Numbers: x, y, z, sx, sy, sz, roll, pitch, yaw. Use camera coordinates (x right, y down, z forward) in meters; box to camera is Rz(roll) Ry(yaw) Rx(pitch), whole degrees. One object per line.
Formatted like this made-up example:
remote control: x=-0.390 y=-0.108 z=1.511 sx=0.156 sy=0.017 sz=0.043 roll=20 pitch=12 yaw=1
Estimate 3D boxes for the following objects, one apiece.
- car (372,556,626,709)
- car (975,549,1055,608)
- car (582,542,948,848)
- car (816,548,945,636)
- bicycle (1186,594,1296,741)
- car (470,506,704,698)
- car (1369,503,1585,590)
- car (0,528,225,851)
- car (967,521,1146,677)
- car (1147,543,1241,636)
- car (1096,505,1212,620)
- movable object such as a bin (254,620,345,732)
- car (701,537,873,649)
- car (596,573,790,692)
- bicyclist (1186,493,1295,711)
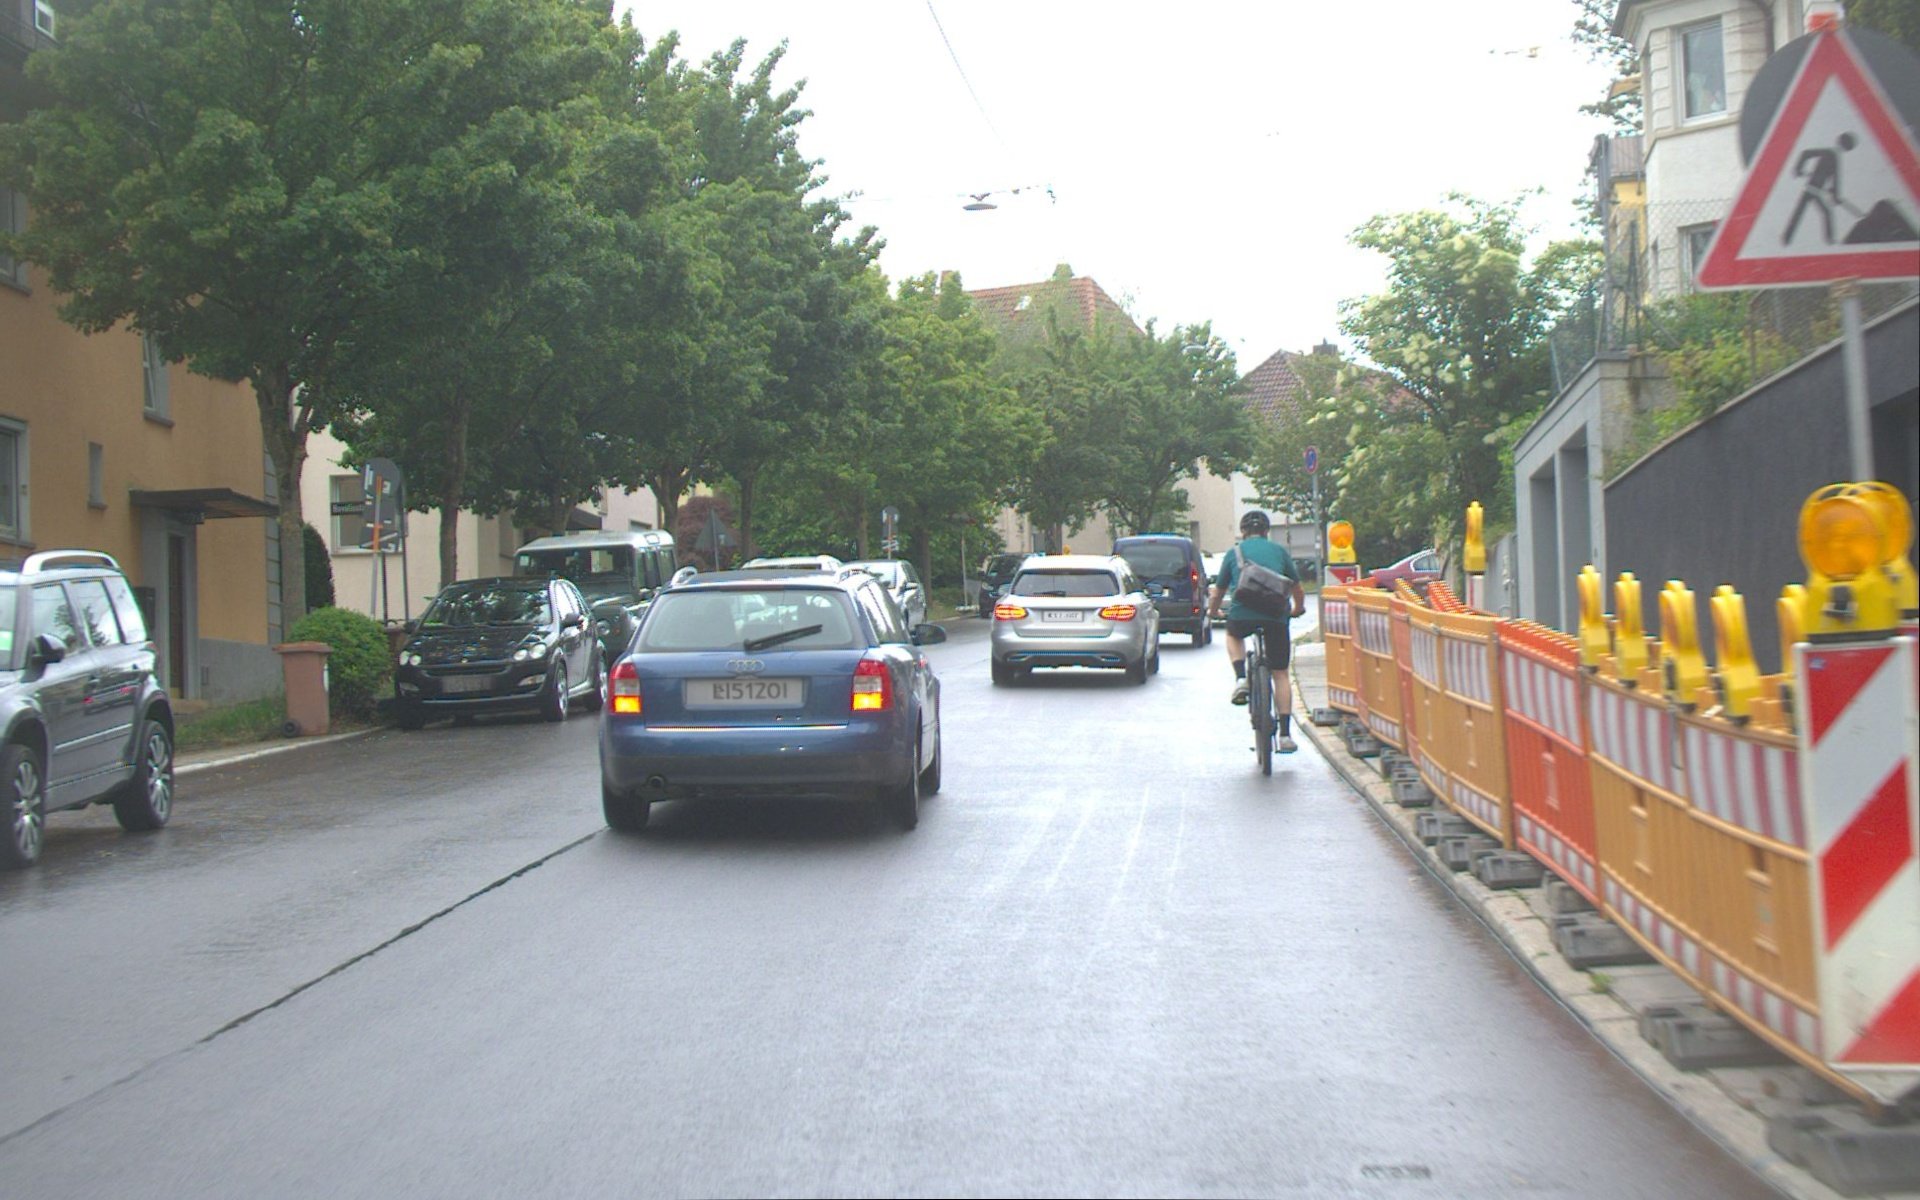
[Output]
car: x=-4.753 y=0.290 z=36.025 sx=1.768 sy=1.431 sz=4.347 roll=-3 pitch=1 yaw=3
car: x=1.355 y=-0.546 z=84.199 sx=1.475 sy=1.291 sz=3.220 roll=1 pitch=2 yaw=9
car: x=-1.030 y=0.462 z=19.954 sx=1.733 sy=1.461 sz=4.000 roll=1 pitch=2 yaw=2
car: x=-1.462 y=-0.158 z=64.906 sx=1.768 sy=1.534 sz=4.006 roll=-2 pitch=0 yaw=8
bicycle: x=1.936 y=0.448 z=23.768 sx=0.730 sy=0.961 sz=1.670 roll=0 pitch=1 yaw=4
car: x=-4.398 y=-0.041 z=41.274 sx=1.792 sy=2.042 sz=4.781 roll=-4 pitch=1 yaw=5
car: x=9.993 y=-1.034 z=66.343 sx=3.989 sy=1.461 sz=1.738 roll=-3 pitch=2 yaw=12
car: x=-5.641 y=0.479 z=19.373 sx=1.768 sy=1.629 sz=4.109 roll=-4 pitch=1 yaw=4
car: x=1.189 y=-0.057 z=40.543 sx=1.975 sy=1.629 sz=4.235 roll=1 pitch=2 yaw=3
car: x=4.926 y=-0.245 z=72.073 sx=1.734 sy=1.762 sz=4.234 roll=1 pitch=2 yaw=7
car: x=3.281 y=-0.663 z=57.516 sx=1.734 sy=1.762 sz=4.235 roll=1 pitch=2 yaw=6
movable object such as a bin: x=-6.459 y=0.741 z=33.647 sx=0.682 sy=1.008 sz=0.708 roll=-5 pitch=1 yaw=-1
car: x=-2.678 y=-0.119 z=54.365 sx=1.769 sy=1.621 sz=4.688 roll=-2 pitch=0 yaw=9
car: x=-3.657 y=0.419 z=47.827 sx=1.768 sy=1.382 sz=4.633 roll=-3 pitch=2 yaw=7
bicyclist: x=1.932 y=0.009 z=23.725 sx=0.725 sy=1.467 sz=0.886 roll=0 pitch=1 yaw=4
